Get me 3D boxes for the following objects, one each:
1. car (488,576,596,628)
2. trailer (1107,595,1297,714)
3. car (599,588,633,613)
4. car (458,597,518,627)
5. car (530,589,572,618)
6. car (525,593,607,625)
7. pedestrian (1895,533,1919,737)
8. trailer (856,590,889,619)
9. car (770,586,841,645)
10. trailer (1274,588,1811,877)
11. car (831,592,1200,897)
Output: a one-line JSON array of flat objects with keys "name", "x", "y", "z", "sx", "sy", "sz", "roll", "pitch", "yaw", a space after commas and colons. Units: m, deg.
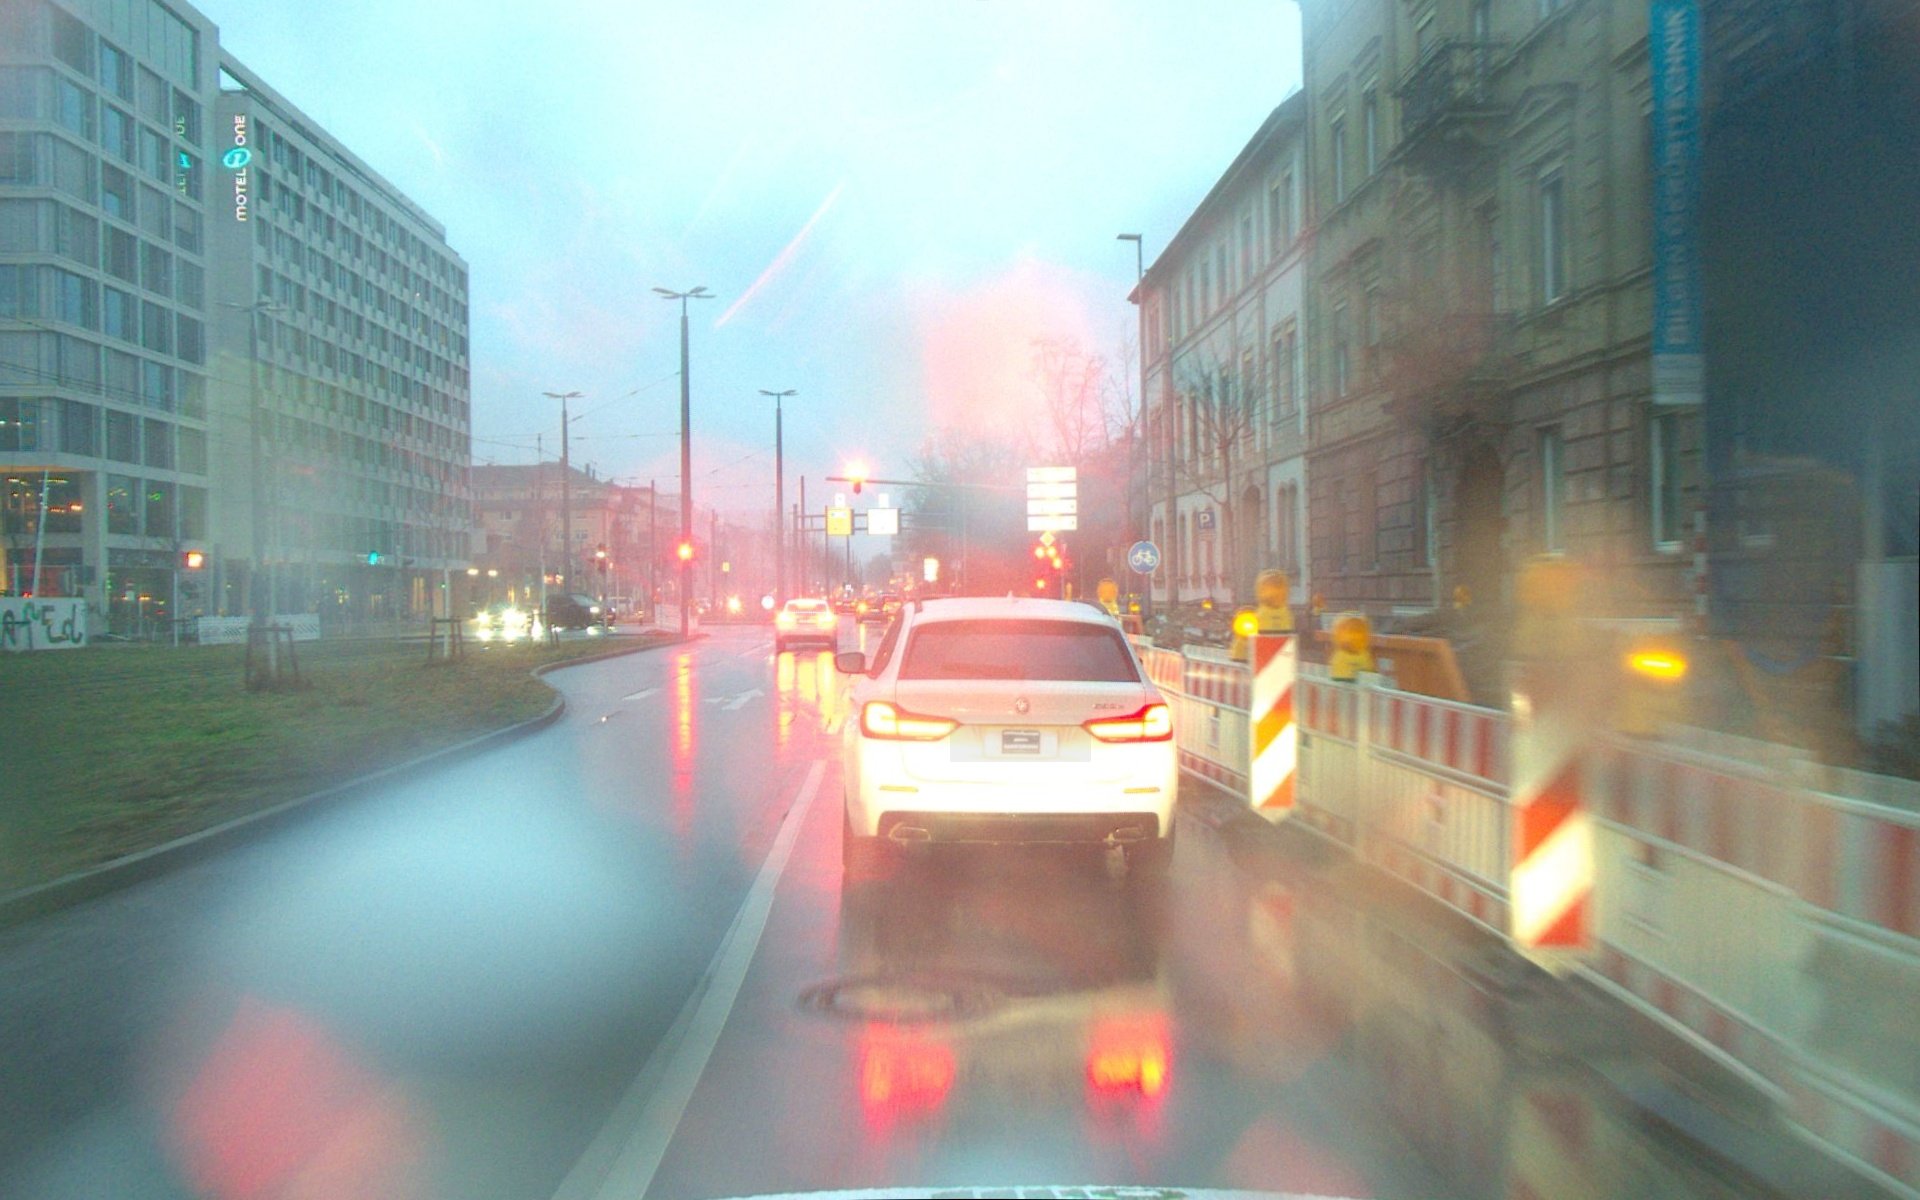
[{"name": "car", "x": -16.569, "y": 0.063, "z": 65.552, "sx": 3.930, "sy": 2.009, "sz": 1.988, "roll": 0, "pitch": 0, "yaw": -21}, {"name": "trailer", "x": 3.029, "y": 0.638, "z": 21.407, "sx": 1.814, "sy": 1.369, "sz": 3.527, "roll": -1, "pitch": 0, "yaw": -2}, {"name": "car", "x": -24.104, "y": 0.017, "z": 115.991, "sx": 1.527, "sy": 1.688, "sz": 3.397, "roll": 0, "pitch": 0, "yaw": 3}, {"name": "car", "x": -24.877, "y": 0.629, "z": 87.124, "sx": 1.729, "sy": 1.518, "sz": 3.489, "roll": 0, "pitch": 0, "yaw": -41}, {"name": "car", "x": -24.683, "y": 0.208, "z": 99.908, "sx": 1.821, "sy": 1.668, "sz": 4.028, "roll": 0, "pitch": 0, "yaw": -5}, {"name": "car", "x": -19.122, "y": 0.411, "z": 80.281, "sx": 3.456, "sy": 1.518, "sz": 1.746, "roll": 0, "pitch": 0, "yaw": 17}, {"name": "pedestrian", "x": 8.104, "y": 0.272, "z": 13.345, "sx": 0.696, "sy": 1.650, "sz": 0.650, "roll": -2, "pitch": 0, "yaw": -3}, {"name": "trailer", "x": -5.220, "y": 0.262, "z": 98.416, "sx": 1.798, "sy": 1.672, "sz": 3.996, "roll": 0, "pitch": 0, "yaw": -5}, {"name": "car", "x": -4.525, "y": 0.428, "z": 48.998, "sx": 1.863, "sy": 1.670, "sz": 3.998, "roll": 0, "pitch": 0, "yaw": -2}, {"name": "trailer", "x": 3.590, "y": 0.691, "z": 11.290, "sx": 1.798, "sy": 1.516, "sz": 4.845, "roll": -1, "pitch": 0, "yaw": -2}, {"name": "car", "x": 0.157, "y": 0.705, "z": 10.629, "sx": 1.815, "sy": 1.491, "sz": 4.944, "roll": 0, "pitch": 0, "yaw": -3}]
